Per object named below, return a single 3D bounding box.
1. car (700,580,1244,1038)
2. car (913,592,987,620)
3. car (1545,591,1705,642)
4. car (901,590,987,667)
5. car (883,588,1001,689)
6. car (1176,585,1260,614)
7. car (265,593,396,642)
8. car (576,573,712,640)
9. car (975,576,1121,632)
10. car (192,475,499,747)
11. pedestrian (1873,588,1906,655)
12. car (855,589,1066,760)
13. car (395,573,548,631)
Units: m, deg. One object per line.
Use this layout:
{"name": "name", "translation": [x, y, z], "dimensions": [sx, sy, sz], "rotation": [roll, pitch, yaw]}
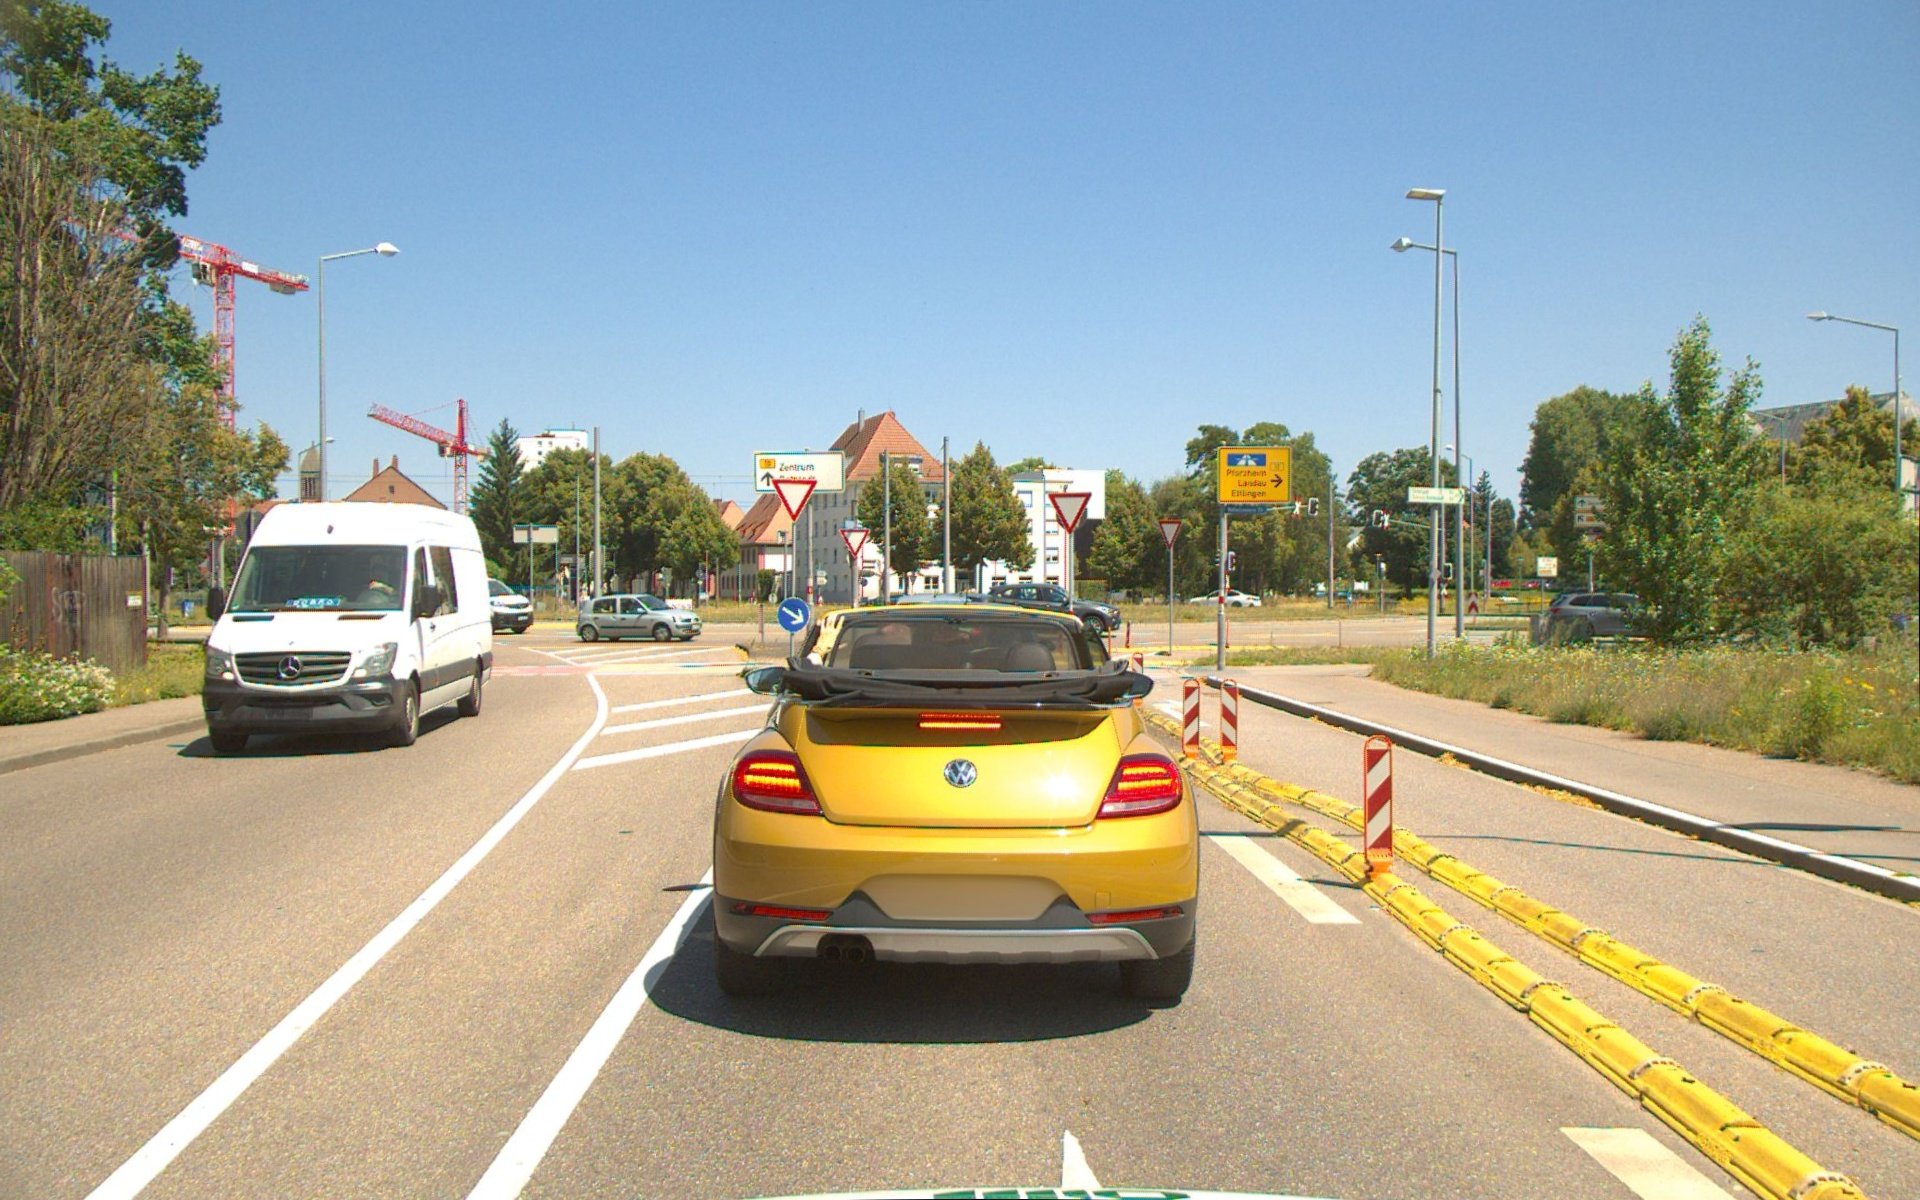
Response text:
{"name": "car", "translation": [0.006, 0.665, 7.146], "dimensions": [1.717, 1.447, 3.776], "rotation": [1, 0, -1]}
{"name": "car", "translation": [-0.659, 0.402, 112.545], "dimensions": [4.813, 1.817, 2.027], "rotation": [-1, 0, 3]}
{"name": "car", "translation": [19.308, 0.458, 48.177], "dimensions": [4.104, 1.415, 1.903], "rotation": [1, 0, 15]}
{"name": "car", "translation": [-0.340, 0.561, 34.878], "dimensions": [1.701, 1.503, 3.999], "rotation": [1, 0, -1]}
{"name": "car", "translation": [-0.291, 0.558, 26.102], "dimensions": [1.701, 1.467, 3.999], "rotation": [1, 0, -1]}
{"name": "car", "translation": [16.803, -0.017, 107.787], "dimensions": [5.069, 1.817, 2.022], "rotation": [-1, 0, 32]}
{"name": "car", "translation": [-20.227, 0.546, 53.139], "dimensions": [3.928, 1.470, 1.632], "rotation": [1, 0, 24]}
{"name": "car", "translation": [-9.353, 0.194, 48.991], "dimensions": [3.589, 1.882, 1.633], "rotation": [-2, -1, 19]}
{"name": "car", "translation": [2.740, 0.111, 50.870], "dimensions": [4.338, 1.624, 2.001], "rotation": [1, 0, 7]}
{"name": "car", "translation": [-6.832, 0.088, 19.275], "dimensions": [1.982, 2.583, 6.813], "rotation": [-1, 0, -9]}
{"name": "pedestrian", "translation": [22.242, 0.502, 39.576], "dimensions": [0.487, 1.590, 0.514], "rotation": [1, 0, -1]}
{"name": "car", "translation": [-0.023, 0.641, 16.280], "dimensions": [1.811, 1.467, 3.999], "rotation": [1, 0, -1]}
{"name": "car", "translation": [-16.628, 0.061, 56.311], "dimensions": [4.871, 1.882, 1.999], "rotation": [1, 0, 24]}
